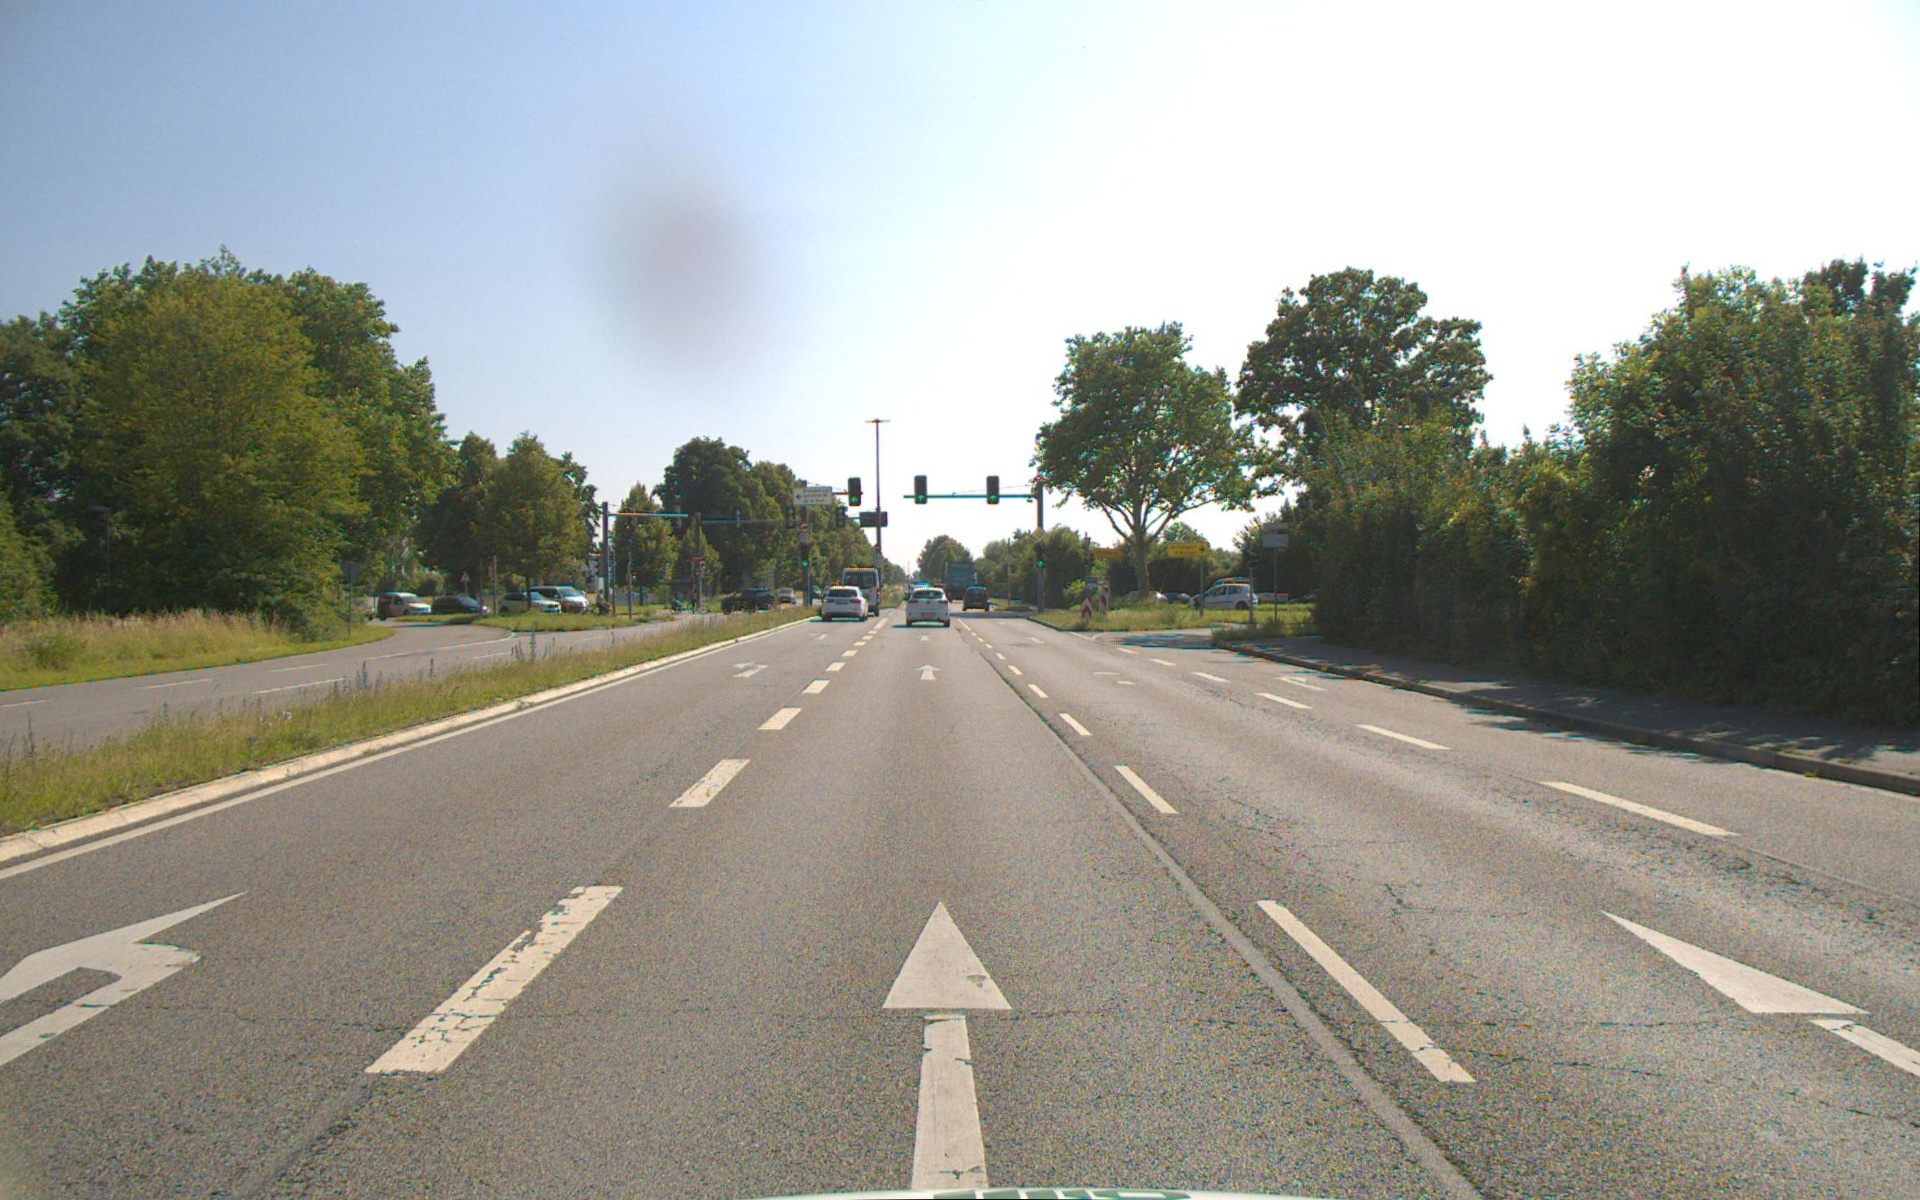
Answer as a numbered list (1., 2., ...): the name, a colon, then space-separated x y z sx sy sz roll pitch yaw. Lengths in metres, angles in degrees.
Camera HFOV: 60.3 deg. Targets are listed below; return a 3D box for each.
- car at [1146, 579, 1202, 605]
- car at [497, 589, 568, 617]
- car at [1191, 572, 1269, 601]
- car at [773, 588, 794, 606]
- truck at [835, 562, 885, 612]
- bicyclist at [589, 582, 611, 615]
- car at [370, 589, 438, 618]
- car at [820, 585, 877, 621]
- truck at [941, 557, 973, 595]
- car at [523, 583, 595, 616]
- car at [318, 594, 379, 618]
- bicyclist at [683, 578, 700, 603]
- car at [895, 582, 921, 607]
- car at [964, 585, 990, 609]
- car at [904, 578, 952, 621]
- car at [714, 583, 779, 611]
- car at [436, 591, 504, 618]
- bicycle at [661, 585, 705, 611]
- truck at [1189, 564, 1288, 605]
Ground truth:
1. car: 13.888 -0.506 107.522 1.600 1.574 3.784 2 -1 -31
2. car: -26.663 0.172 103.064 4.180 1.634 1.999 -1 1 34
3. car: 14.039 -0.702 86.049 3.667 1.495 1.785 0 0 23
4. car: -15.574 -0.259 145.699 1.456 1.439 3.761 -3 1 -1
5. truck: -5.010 -0.688 83.553 2.326 2.430 6.039 -1 1 -2
6. bicyclist: -17.408 -0.080 80.009 0.829 1.544 0.747 0 1 4
7. car: -37.082 0.250 110.280 4.414 1.832 1.999 -1 1 34
8. car: -4.732 0.101 70.777 1.774 1.490 4.973 -1 0 4
9. truck: -0.367 -2.272 157.794 2.833 3.488 9.167 -1 1 -1
10. car: -25.849 -0.023 106.586 4.559 1.984 1.994 -1 1 34
11. car: -42.026 0.429 113.692 4.040 1.538 1.914 -1 1 34
12. bicyclist: -17.895 -0.624 110.285 0.845 1.647 0.757 0 0 26
13. car: -3.179 -0.364 101.131 1.540 1.439 3.277 -1 1 -1
14. car: 1.033 -0.157 101.164 1.540 1.439 3.277 0 0 -1
15. car: -1.211 -0.046 63.557 1.762 1.580 4.000 0 1 -1
16. car: -13.055 -0.206 100.869 3.930 1.678 1.902 0 0 43
17. car: -31.557 0.283 106.421 4.180 1.634 1.999 -1 1 34
18. bicycle: -18.539 -0.115 110.608 2.737 1.699 1.135 -1 0 26
19. truck: 17.197 -0.932 102.590 2.317 2.428 6.398 2 -1 -34
